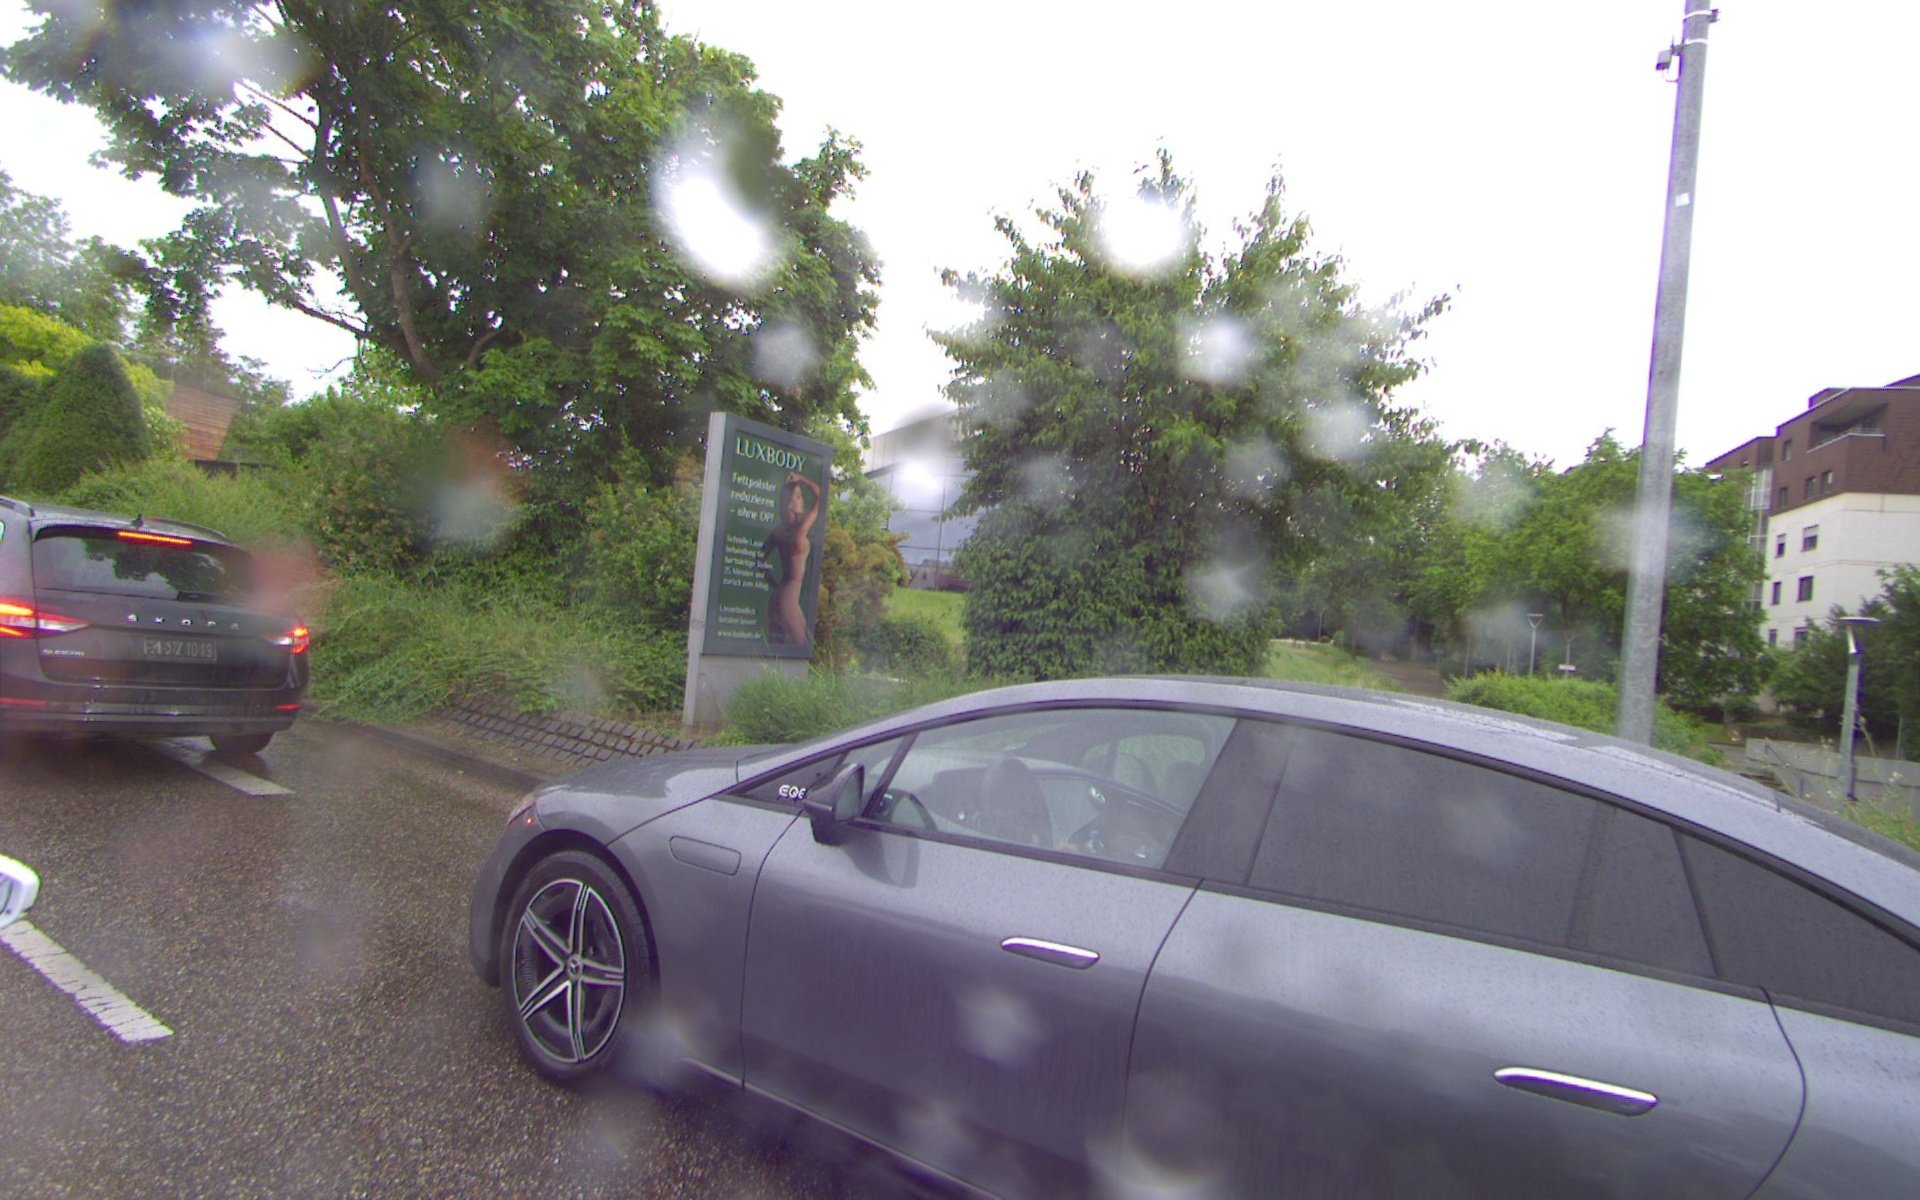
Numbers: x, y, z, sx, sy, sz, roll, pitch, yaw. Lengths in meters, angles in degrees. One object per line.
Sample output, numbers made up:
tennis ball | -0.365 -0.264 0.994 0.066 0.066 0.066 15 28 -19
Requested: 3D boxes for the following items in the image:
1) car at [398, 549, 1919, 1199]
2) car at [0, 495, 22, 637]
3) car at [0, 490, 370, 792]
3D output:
car | 0.707 0.918 2.900 4.728 1.483 1.842 7 -2 31
car | -12.194 -0.660 10.885 4.048 1.483 1.842 7 -2 31
car | -6.091 0.074 6.755 4.279 1.483 1.841 7 -2 33
